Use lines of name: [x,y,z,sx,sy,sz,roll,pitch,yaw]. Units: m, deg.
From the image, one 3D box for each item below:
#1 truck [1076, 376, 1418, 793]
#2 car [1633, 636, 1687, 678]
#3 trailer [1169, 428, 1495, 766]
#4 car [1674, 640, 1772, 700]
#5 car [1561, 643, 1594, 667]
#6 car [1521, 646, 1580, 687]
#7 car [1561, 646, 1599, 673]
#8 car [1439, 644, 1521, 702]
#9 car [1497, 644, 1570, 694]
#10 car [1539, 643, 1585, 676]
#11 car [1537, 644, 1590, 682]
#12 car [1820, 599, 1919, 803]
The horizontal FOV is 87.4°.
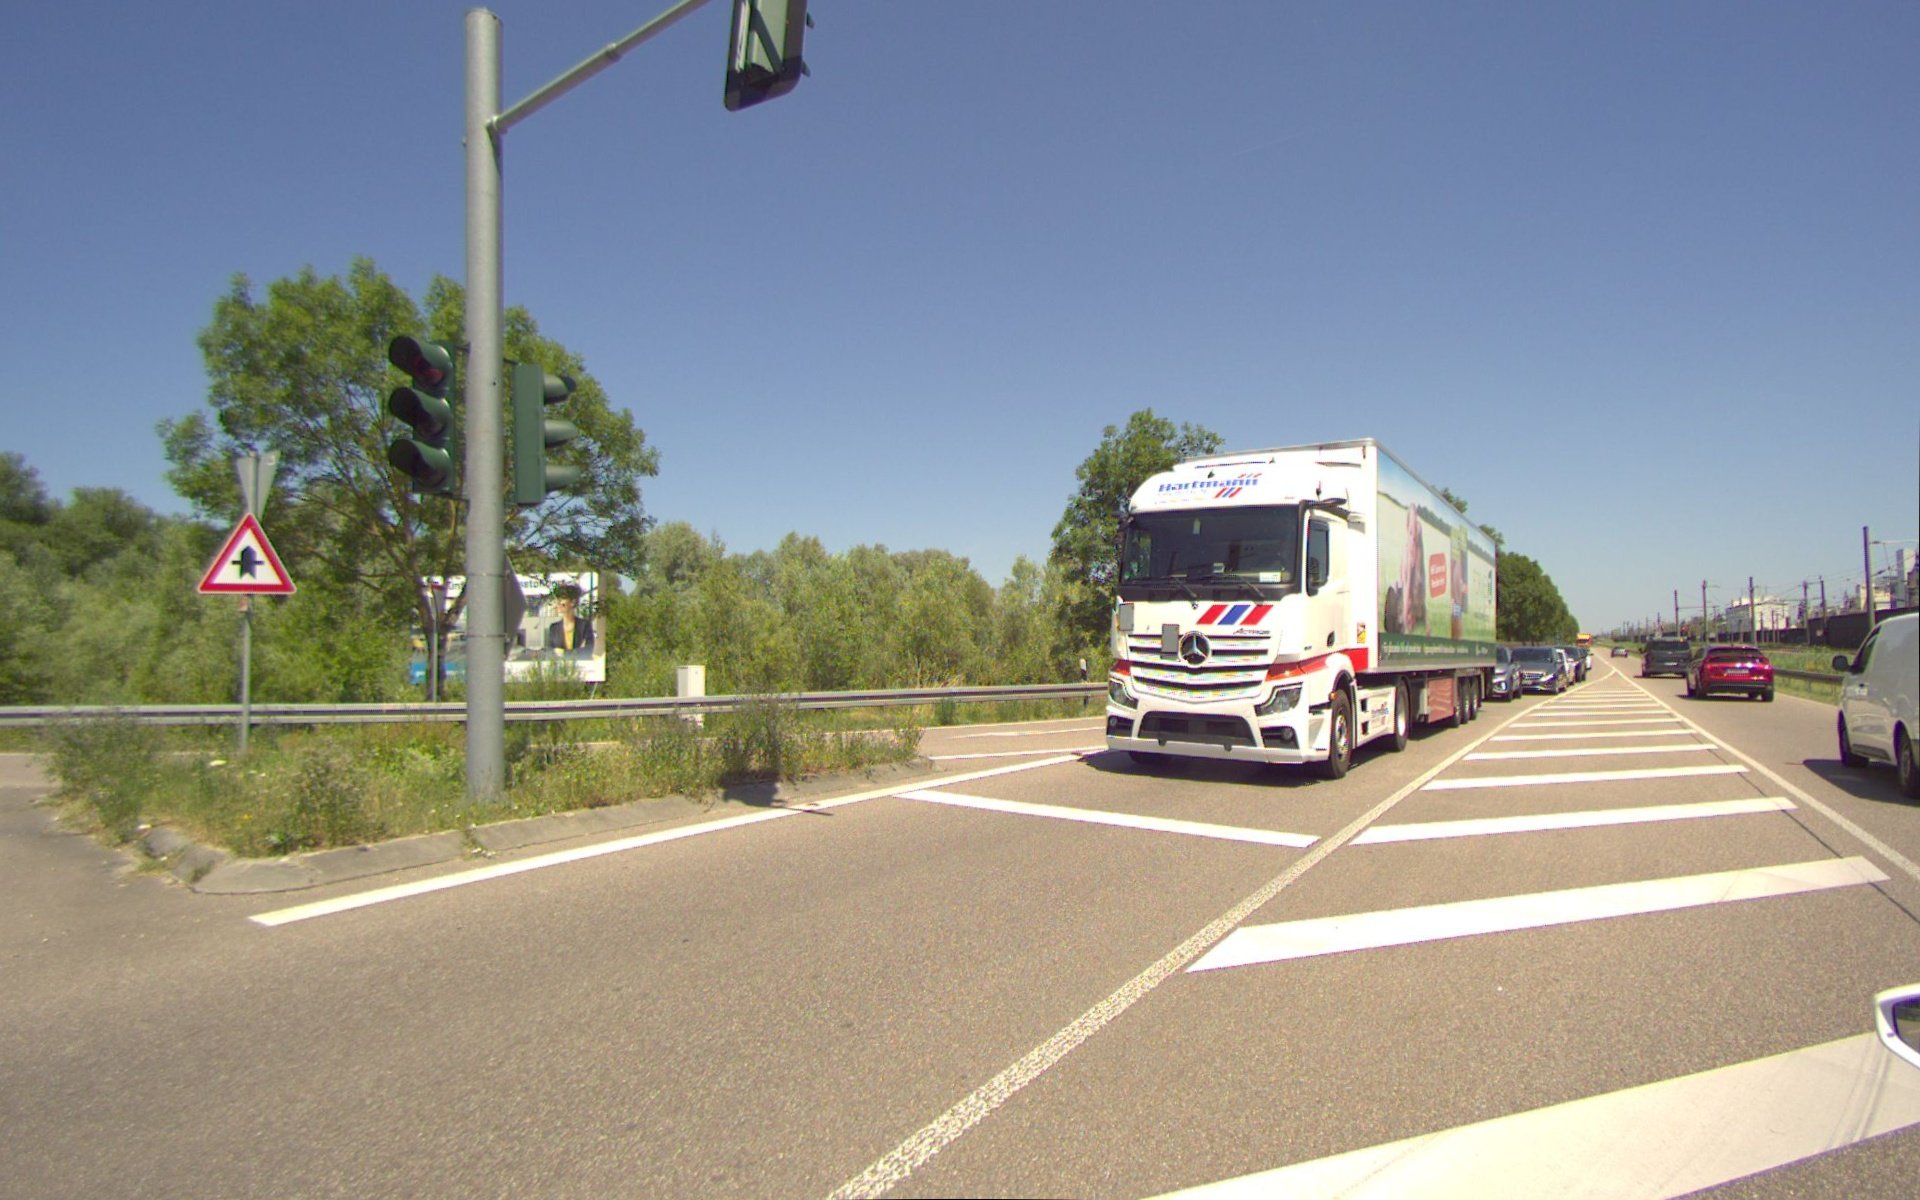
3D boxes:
truck: [4.025,-0.034,13.040,2.652,4.098,5.810,0,-2,33]
car: [35.760,2.888,51.411,1.979,2.049,4.772,-1,-2,32]
trailer: [7.806,0.254,18.823,2.652,4.098,14.088,0,-3,33]
car: [23.176,2.081,30.639,1.878,1.671,4.133,0,-2,30]
car: [39.849,3.542,64.750,1.662,1.479,4.603,0,-2,34]
car: [23.585,2.615,40.051,1.632,1.498,4.614,-1,-3,36]
car: [36.113,3.411,58.451,1.663,1.479,4.602,0,-2,34]
car: [15.374,2.092,29.604,1.689,1.582,4.143,-1,-3,34]
car: [19.325,2.284,33.742,1.603,1.558,4.369,-3,-3,36]
car: [31.576,3.091,52.642,1.732,1.653,4.265,-1,-2,35]
car: [27.516,2.823,45.725,1.694,1.610,4.519,-1,-2,35]
car: [11.076,1.064,10.942,1.918,1.906,4.869,0,-2,33]
